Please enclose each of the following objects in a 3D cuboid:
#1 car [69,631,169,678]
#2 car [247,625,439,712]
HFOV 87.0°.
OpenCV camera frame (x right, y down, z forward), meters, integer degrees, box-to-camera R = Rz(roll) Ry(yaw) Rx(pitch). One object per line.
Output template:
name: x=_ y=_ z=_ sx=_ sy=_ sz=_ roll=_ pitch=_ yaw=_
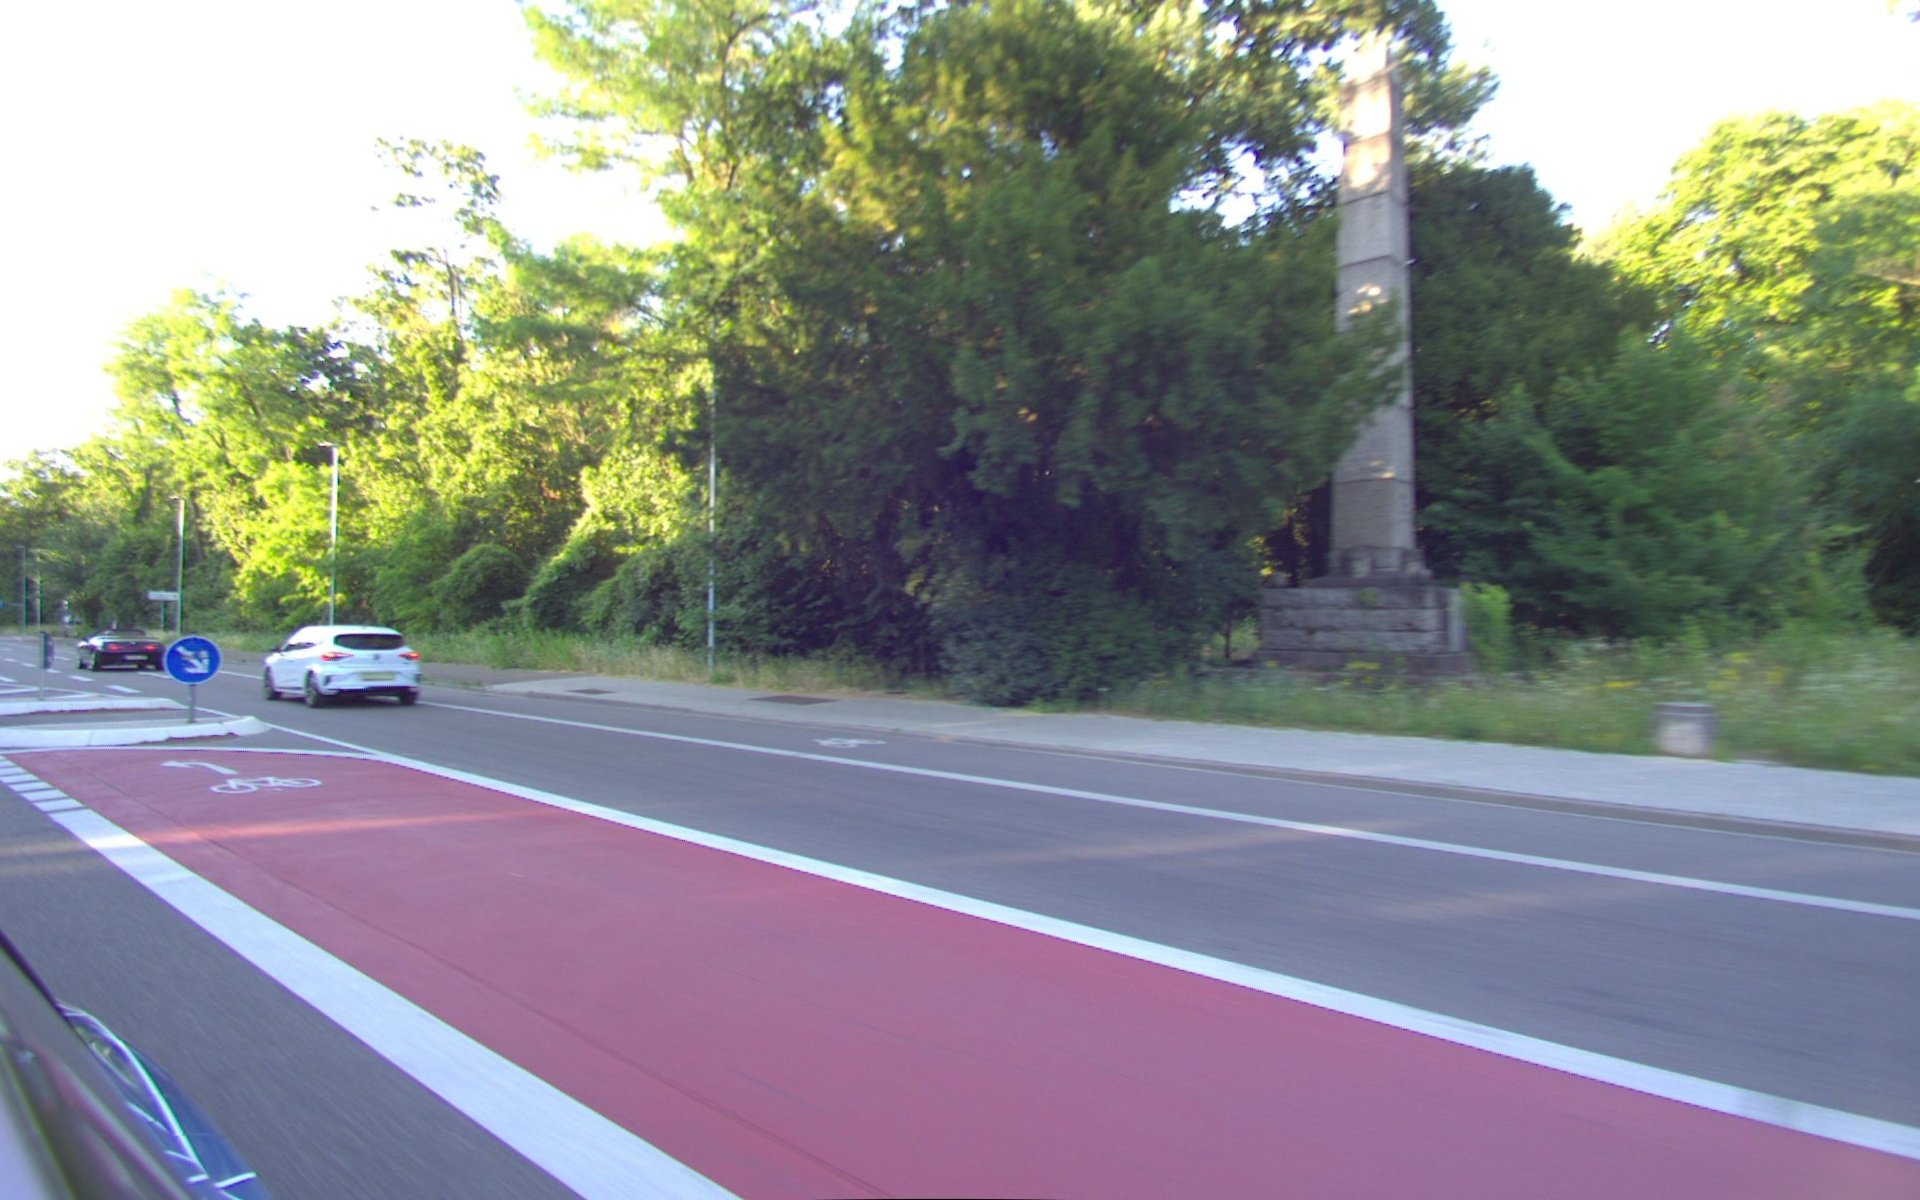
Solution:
car: x=-25.631 y=1.613 z=30.798 sx=3.998 sy=1.316 sz=1.731 roll=-1 pitch=-2 yaw=42
car: x=-11.570 y=1.216 z=18.876 sx=4.178 sy=1.425 sz=1.827 roll=-1 pitch=-4 yaw=41
